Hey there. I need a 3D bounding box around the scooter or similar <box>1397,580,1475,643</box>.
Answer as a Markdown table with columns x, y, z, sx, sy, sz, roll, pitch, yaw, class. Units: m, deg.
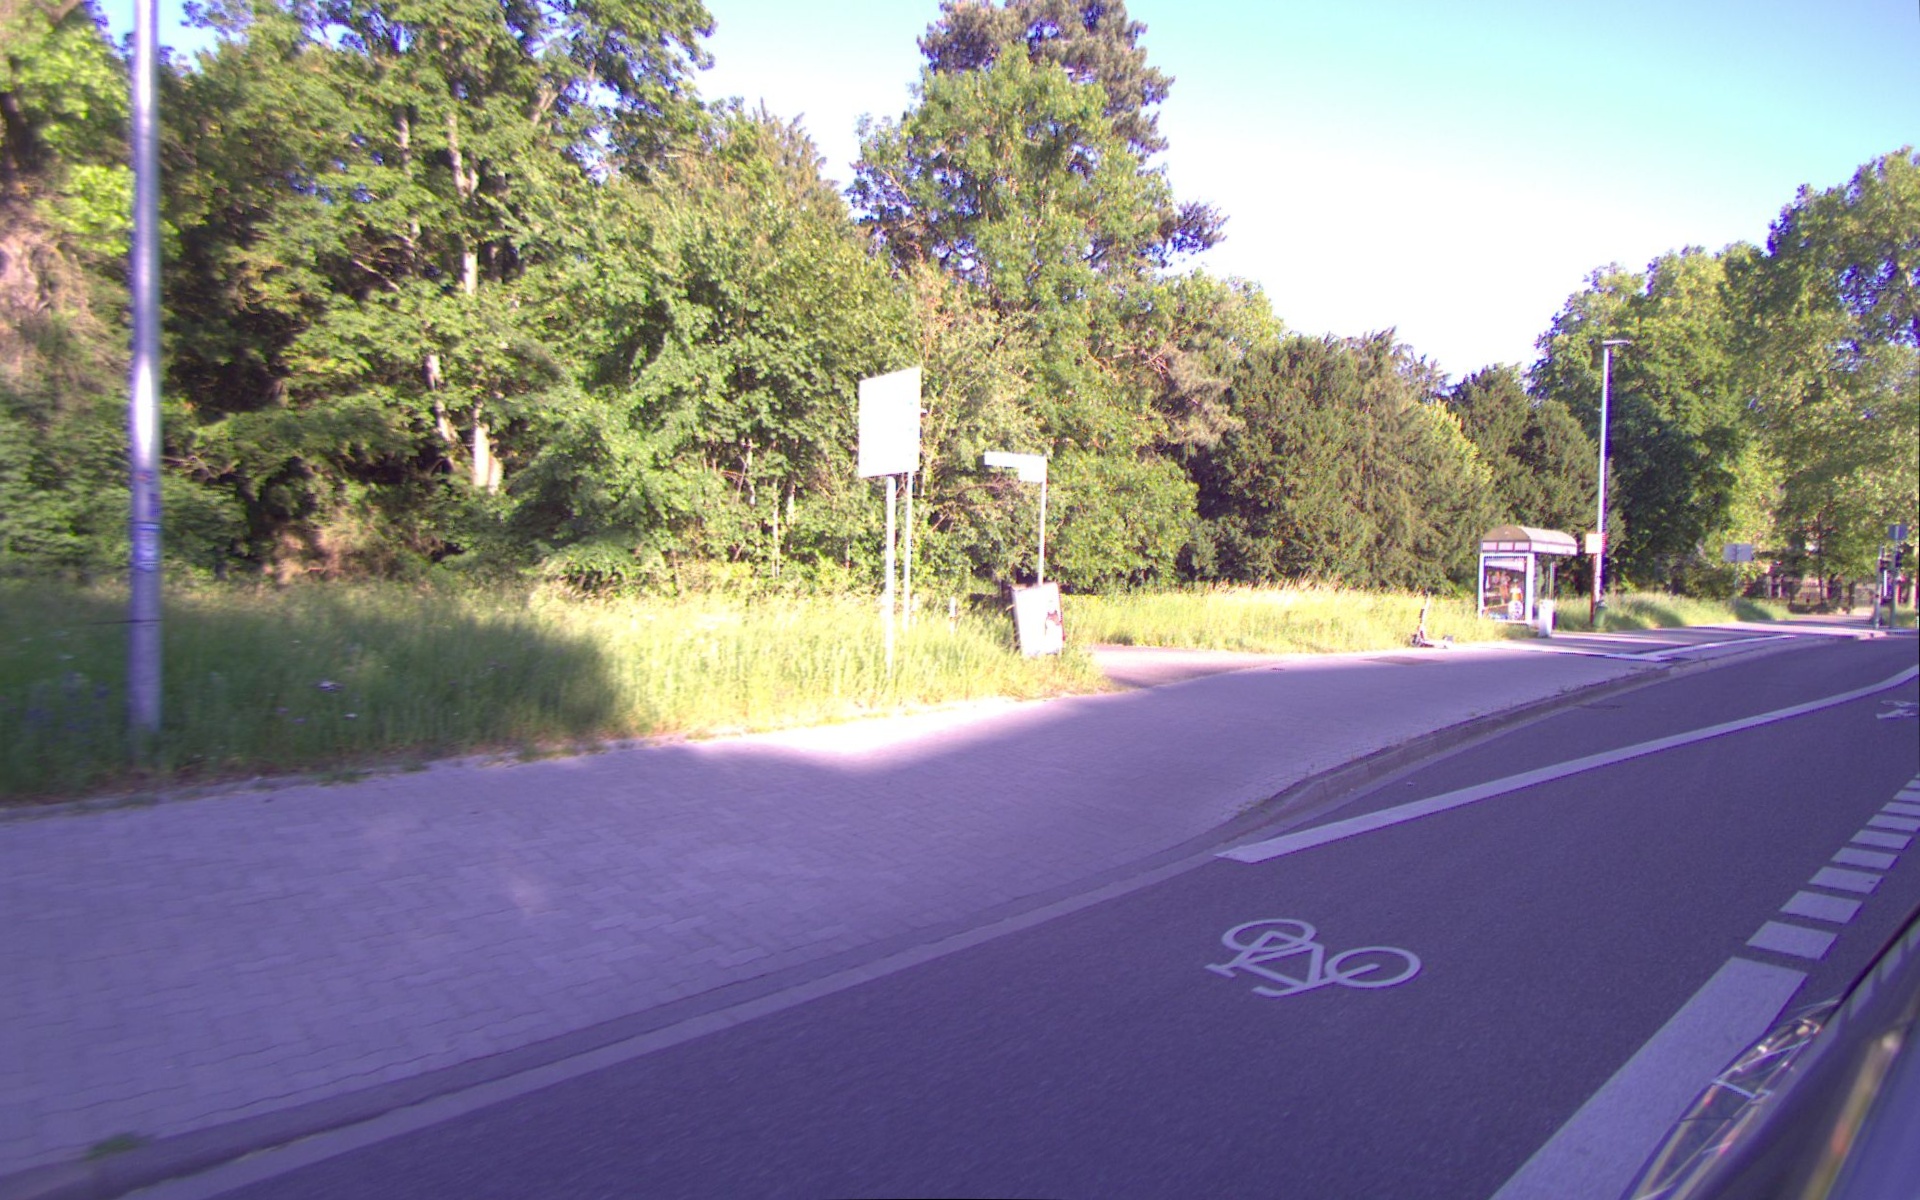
| x | y | z | sx | sy | sz | roll | pitch | yaw | class |
| --- | --- | --- | --- | --- | --- | --- | --- | --- | --- |
| 9.948 | 0.235 | 21.168 | 1.300 | 1.263 | 0.726 | 1 | 1 | -20 | scooter or similar |
